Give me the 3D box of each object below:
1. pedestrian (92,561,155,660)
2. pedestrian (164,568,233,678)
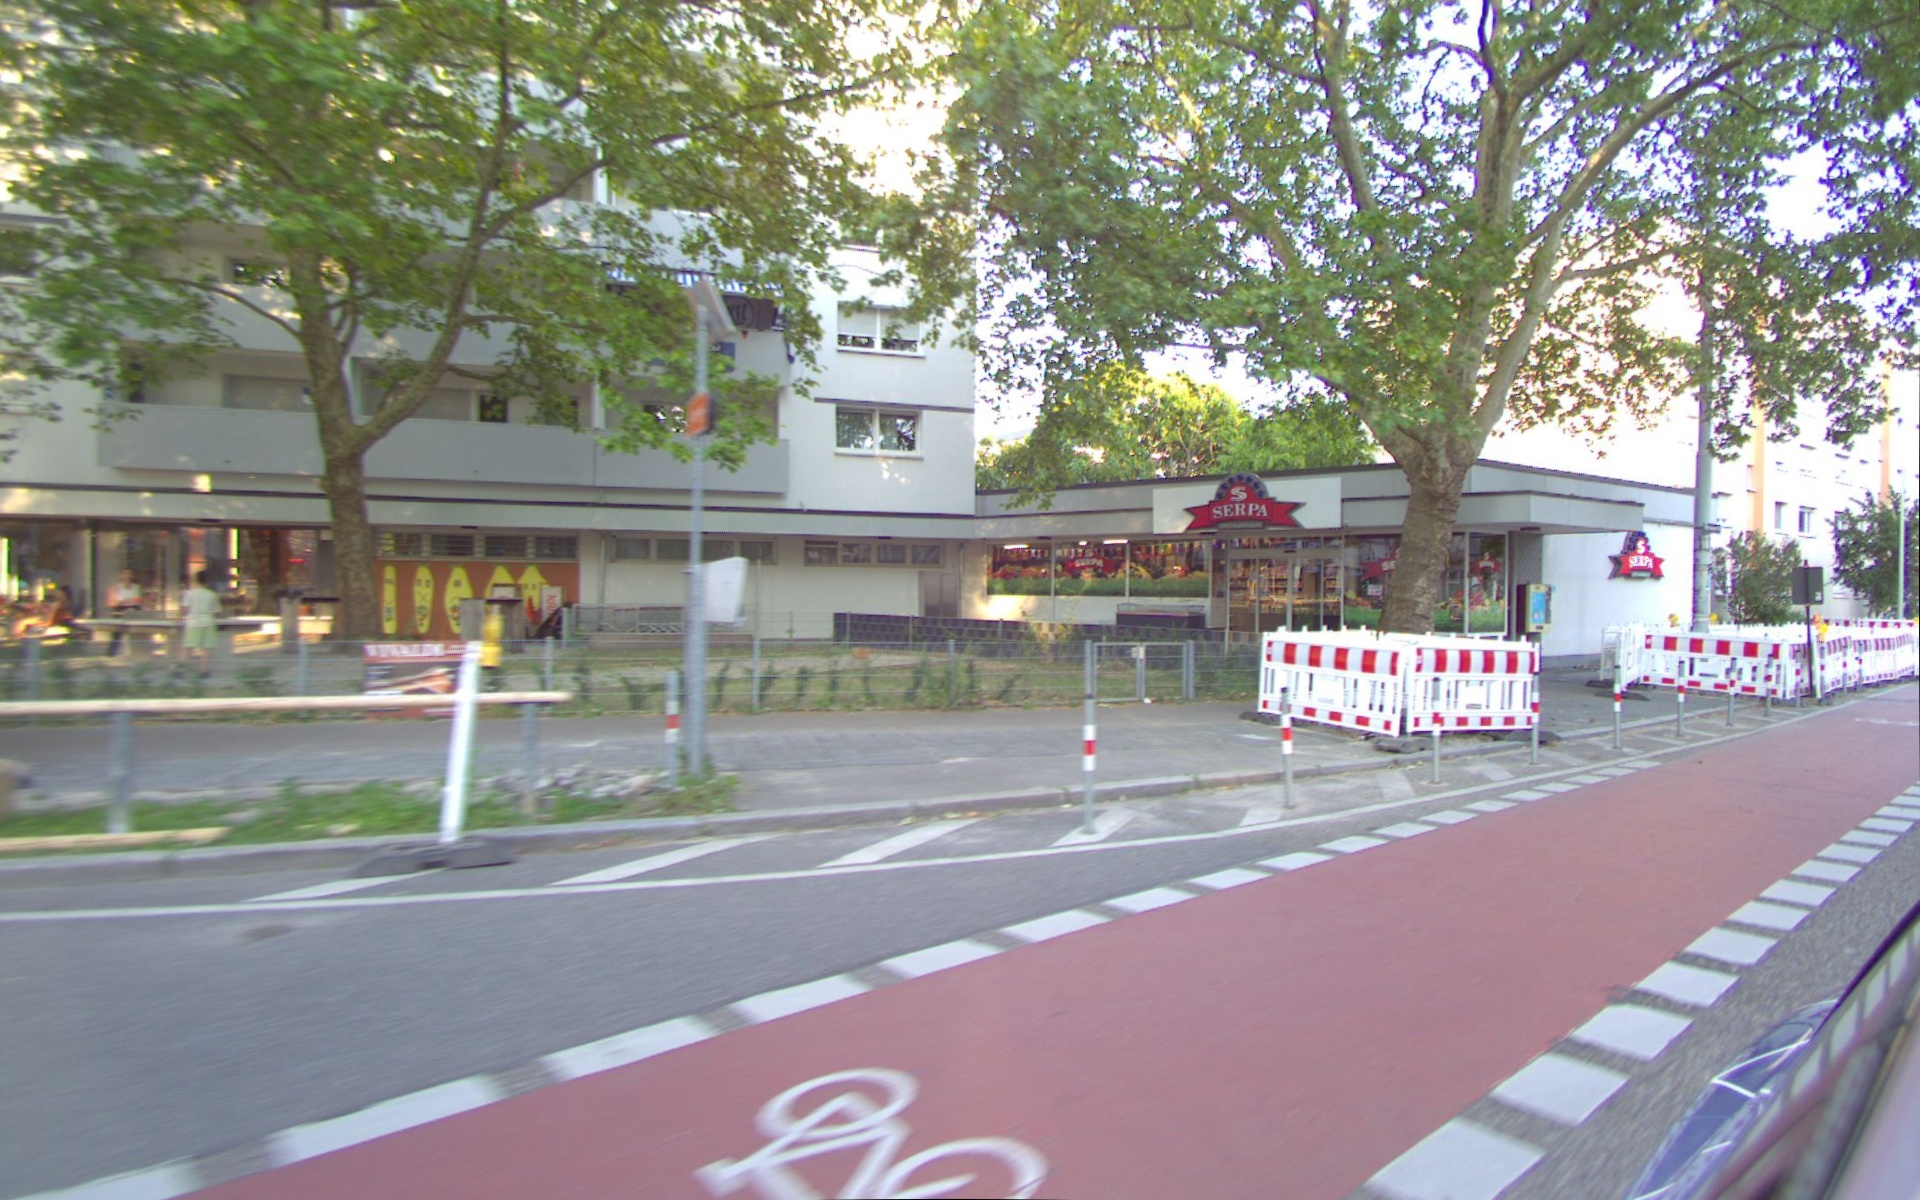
[{"bbox_3d":[-13.947,0.168,16.871,0.639,1.608,0.735,-1,0,43],"label":"pedestrian"},{"bbox_3d":[-11.506,0.332,15.296,0.639,1.608,0.735,-1,0,43],"label":"pedestrian"}]
